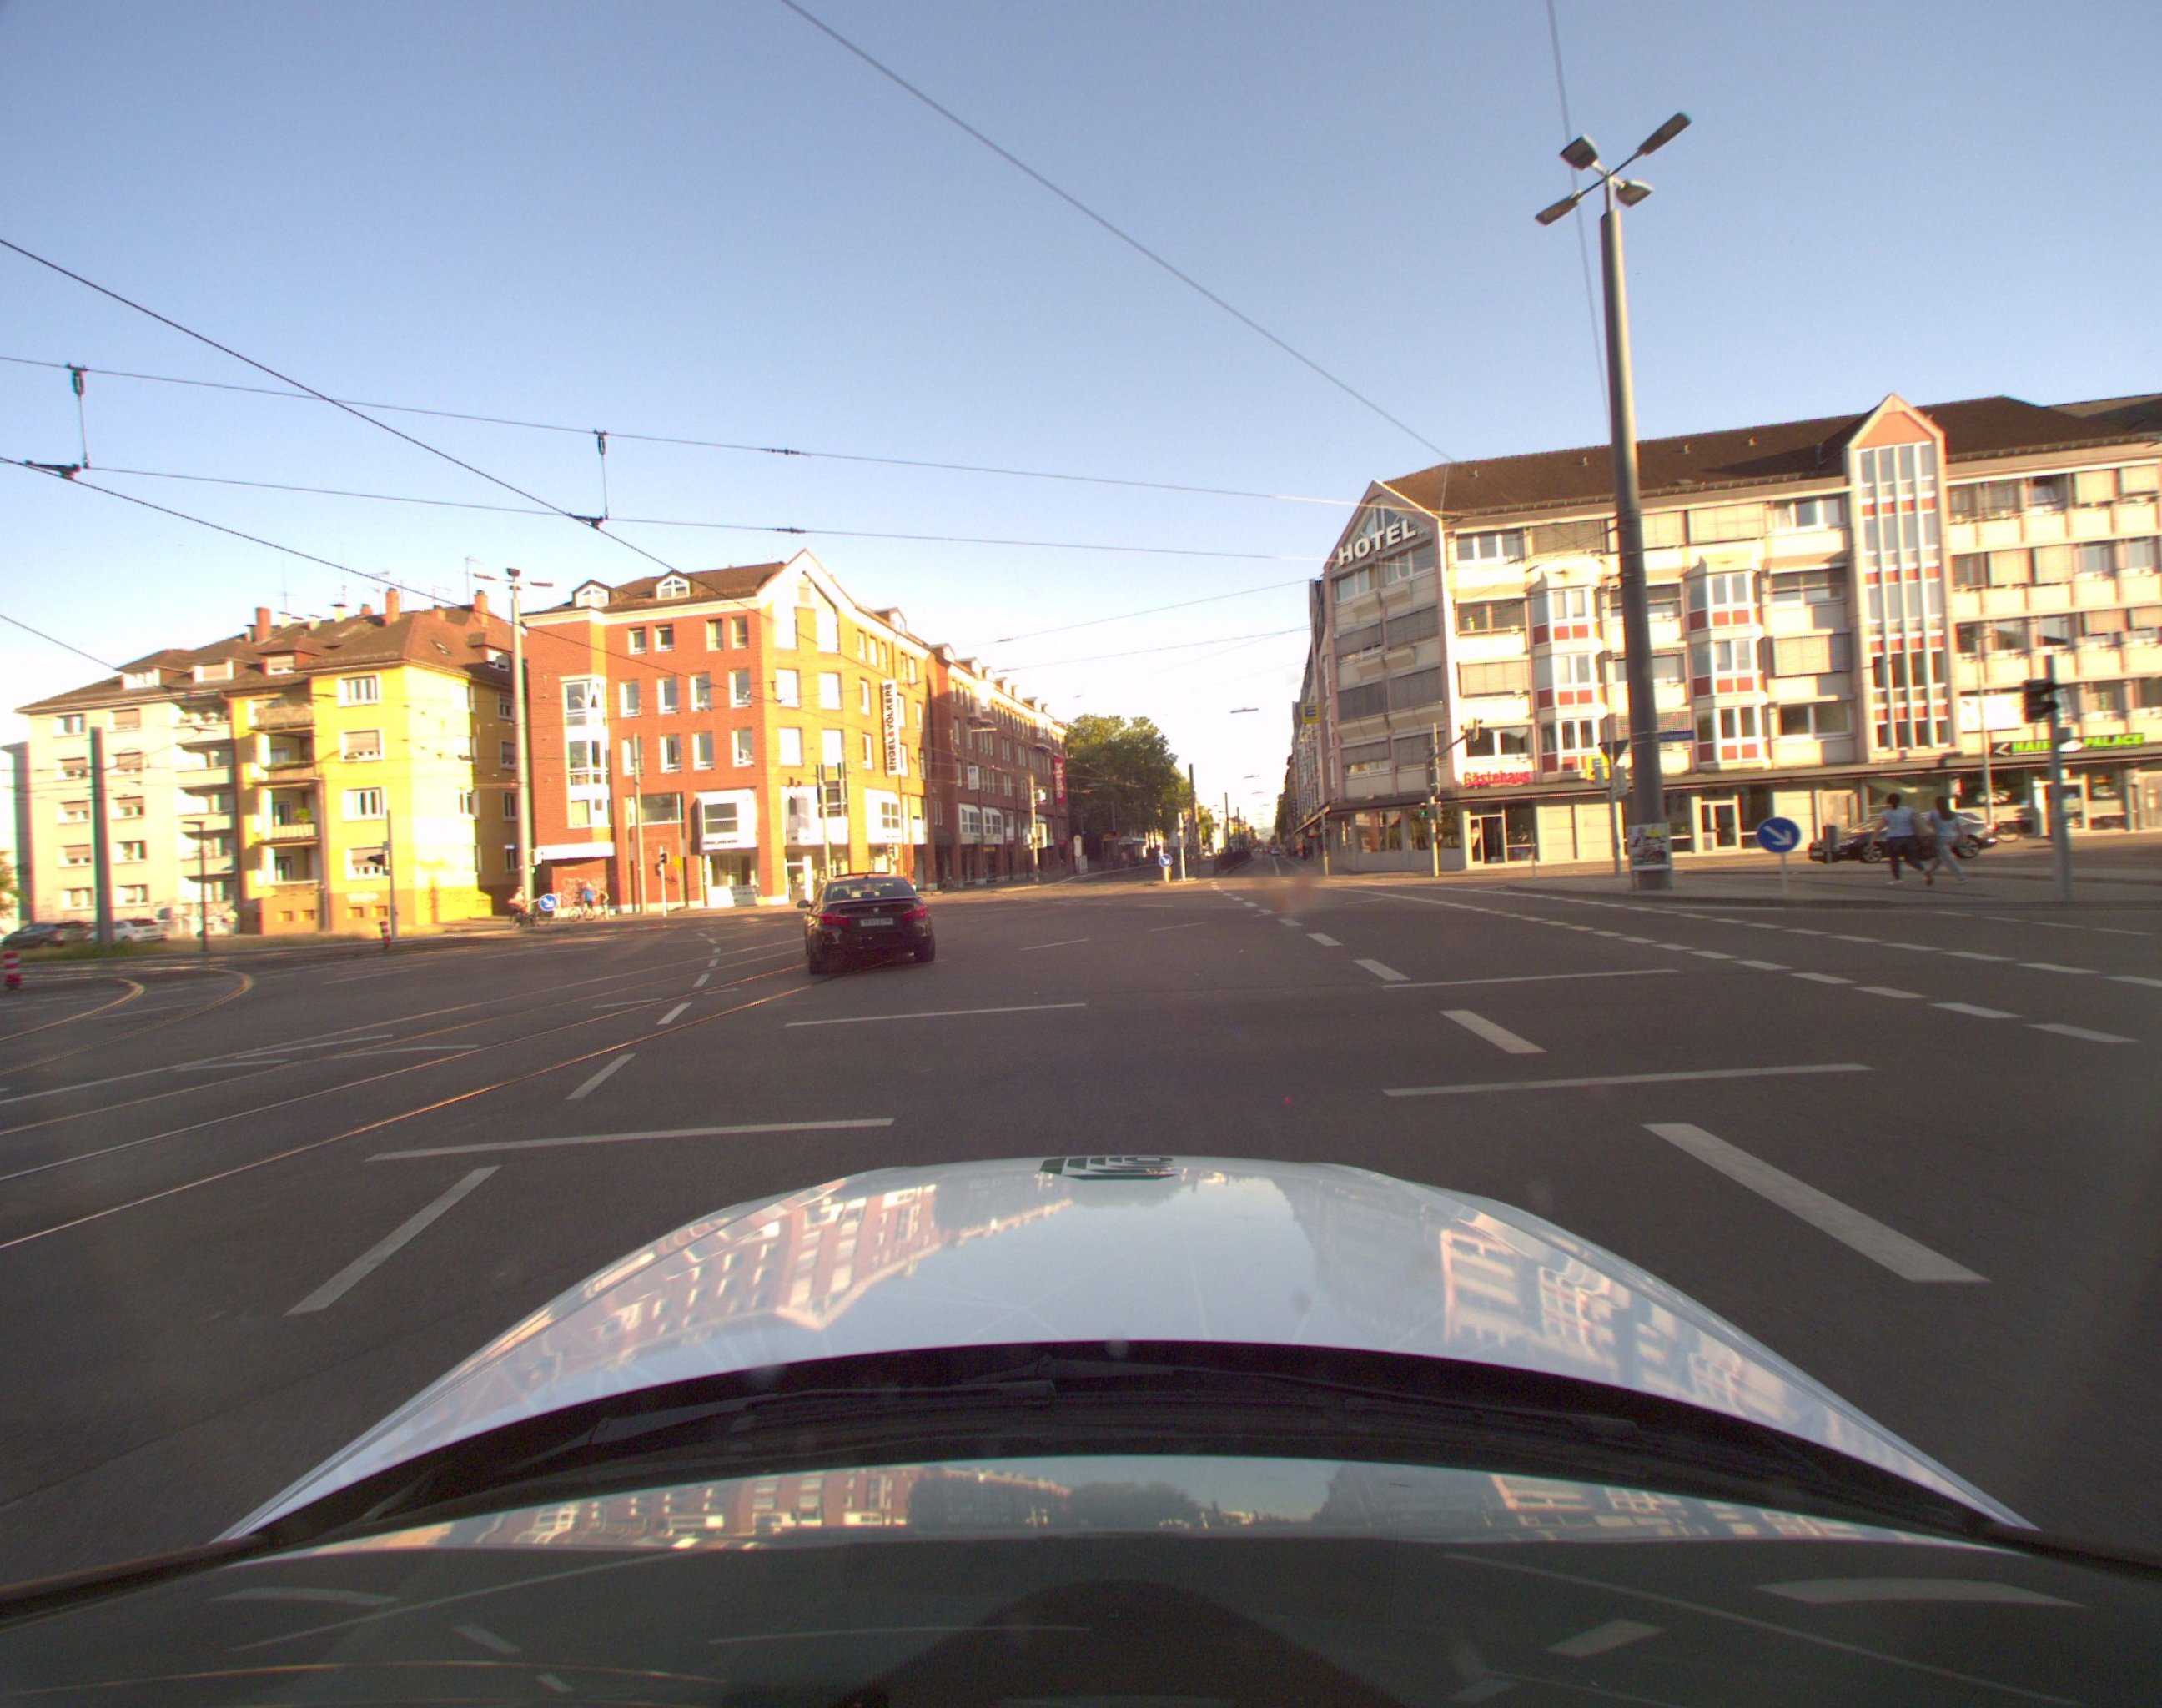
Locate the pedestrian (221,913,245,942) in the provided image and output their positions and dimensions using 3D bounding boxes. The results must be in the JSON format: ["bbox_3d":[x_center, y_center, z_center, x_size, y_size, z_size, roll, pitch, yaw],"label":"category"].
[{"bbox_3d":[-48.843,4.224,46.912,0.714,1.599,0.727,-3,-1,-32],"label":"pedestrian"}]

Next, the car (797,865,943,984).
[{"bbox_3d":[-3.682,1.012,13.634,1.848,1.495,4.262,-5,1,-20],"label":"car"}]

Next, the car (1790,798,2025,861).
[{"bbox_3d":[25.422,-0.713,25.294,4.561,1.555,2.233,-4,0,17],"label":"car"}]

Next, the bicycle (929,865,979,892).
[{"bbox_3d":[-9.036,1.720,57.933,3.275,1.726,1.073,-3,0,12],"label":"bicycle"}]

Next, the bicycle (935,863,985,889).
[{"bbox_3d":[-8.779,1.588,59.078,3.276,1.726,1.073,-3,0,11],"label":"bicycle"}]

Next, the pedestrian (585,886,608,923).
[{"bbox_3d":[-24.988,2.596,42.010,0.635,1.778,0.815,-3,-1,2],"label":"pedestrian"}]

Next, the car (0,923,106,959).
[{"bbox_3d":[-59.191,4.988,46.701,4.312,1.705,2.123,-3,-1,7],"label":"car"}]

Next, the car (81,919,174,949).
[{"bbox_3d":[-53.961,4.518,46.108,3.513,1.420,1.743,1,1,7],"label":"car"}]

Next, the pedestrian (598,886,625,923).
[{"bbox_3d":[-24.219,2.594,42.044,0.867,1.793,0.710,-3,-1,1],"label":"pedestrian"}]

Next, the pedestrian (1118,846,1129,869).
[{"bbox_3d":[3.819,0.334,73.556,0.803,2.013,0.680,-3,0,9],"label":"pedestrian"}]

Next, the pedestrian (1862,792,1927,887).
[{"bbox_3d":[14.690,-0.265,14.702,0.776,1.649,0.718,-3,-1,-42],"label":"pedestrian"}]

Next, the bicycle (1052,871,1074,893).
[{"bbox_3d":[-1.852,2.862,84.877,1.286,2.013,3.961,-4,0,12],"label":"bicycle"}]

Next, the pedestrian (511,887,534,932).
[{"bbox_3d":[-21.919,2.190,31.986,0.511,1.708,0.420,-4,-1,10],"label":"pedestrian"}]

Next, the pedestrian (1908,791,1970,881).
[{"bbox_3d":[15.733,-0.330,14.930,0.830,1.582,0.697,-3,-1,-42],"label":"pedestrian"}]

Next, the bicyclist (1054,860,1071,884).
[{"bbox_3d":[-1.874,1.877,85.013,1.282,2.468,1.674,-4,0,11],"label":"bicyclist"}]

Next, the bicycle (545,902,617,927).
[{"bbox_3d":[-25.270,3.072,41.153,3.041,1.017,0.932,-4,-1,2],"label":"bicycle"}]

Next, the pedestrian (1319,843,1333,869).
[{"bbox_3d":[15.380,0.122,51.093,0.701,1.548,0.910,-2,3,10],"label":"pedestrian"}]
